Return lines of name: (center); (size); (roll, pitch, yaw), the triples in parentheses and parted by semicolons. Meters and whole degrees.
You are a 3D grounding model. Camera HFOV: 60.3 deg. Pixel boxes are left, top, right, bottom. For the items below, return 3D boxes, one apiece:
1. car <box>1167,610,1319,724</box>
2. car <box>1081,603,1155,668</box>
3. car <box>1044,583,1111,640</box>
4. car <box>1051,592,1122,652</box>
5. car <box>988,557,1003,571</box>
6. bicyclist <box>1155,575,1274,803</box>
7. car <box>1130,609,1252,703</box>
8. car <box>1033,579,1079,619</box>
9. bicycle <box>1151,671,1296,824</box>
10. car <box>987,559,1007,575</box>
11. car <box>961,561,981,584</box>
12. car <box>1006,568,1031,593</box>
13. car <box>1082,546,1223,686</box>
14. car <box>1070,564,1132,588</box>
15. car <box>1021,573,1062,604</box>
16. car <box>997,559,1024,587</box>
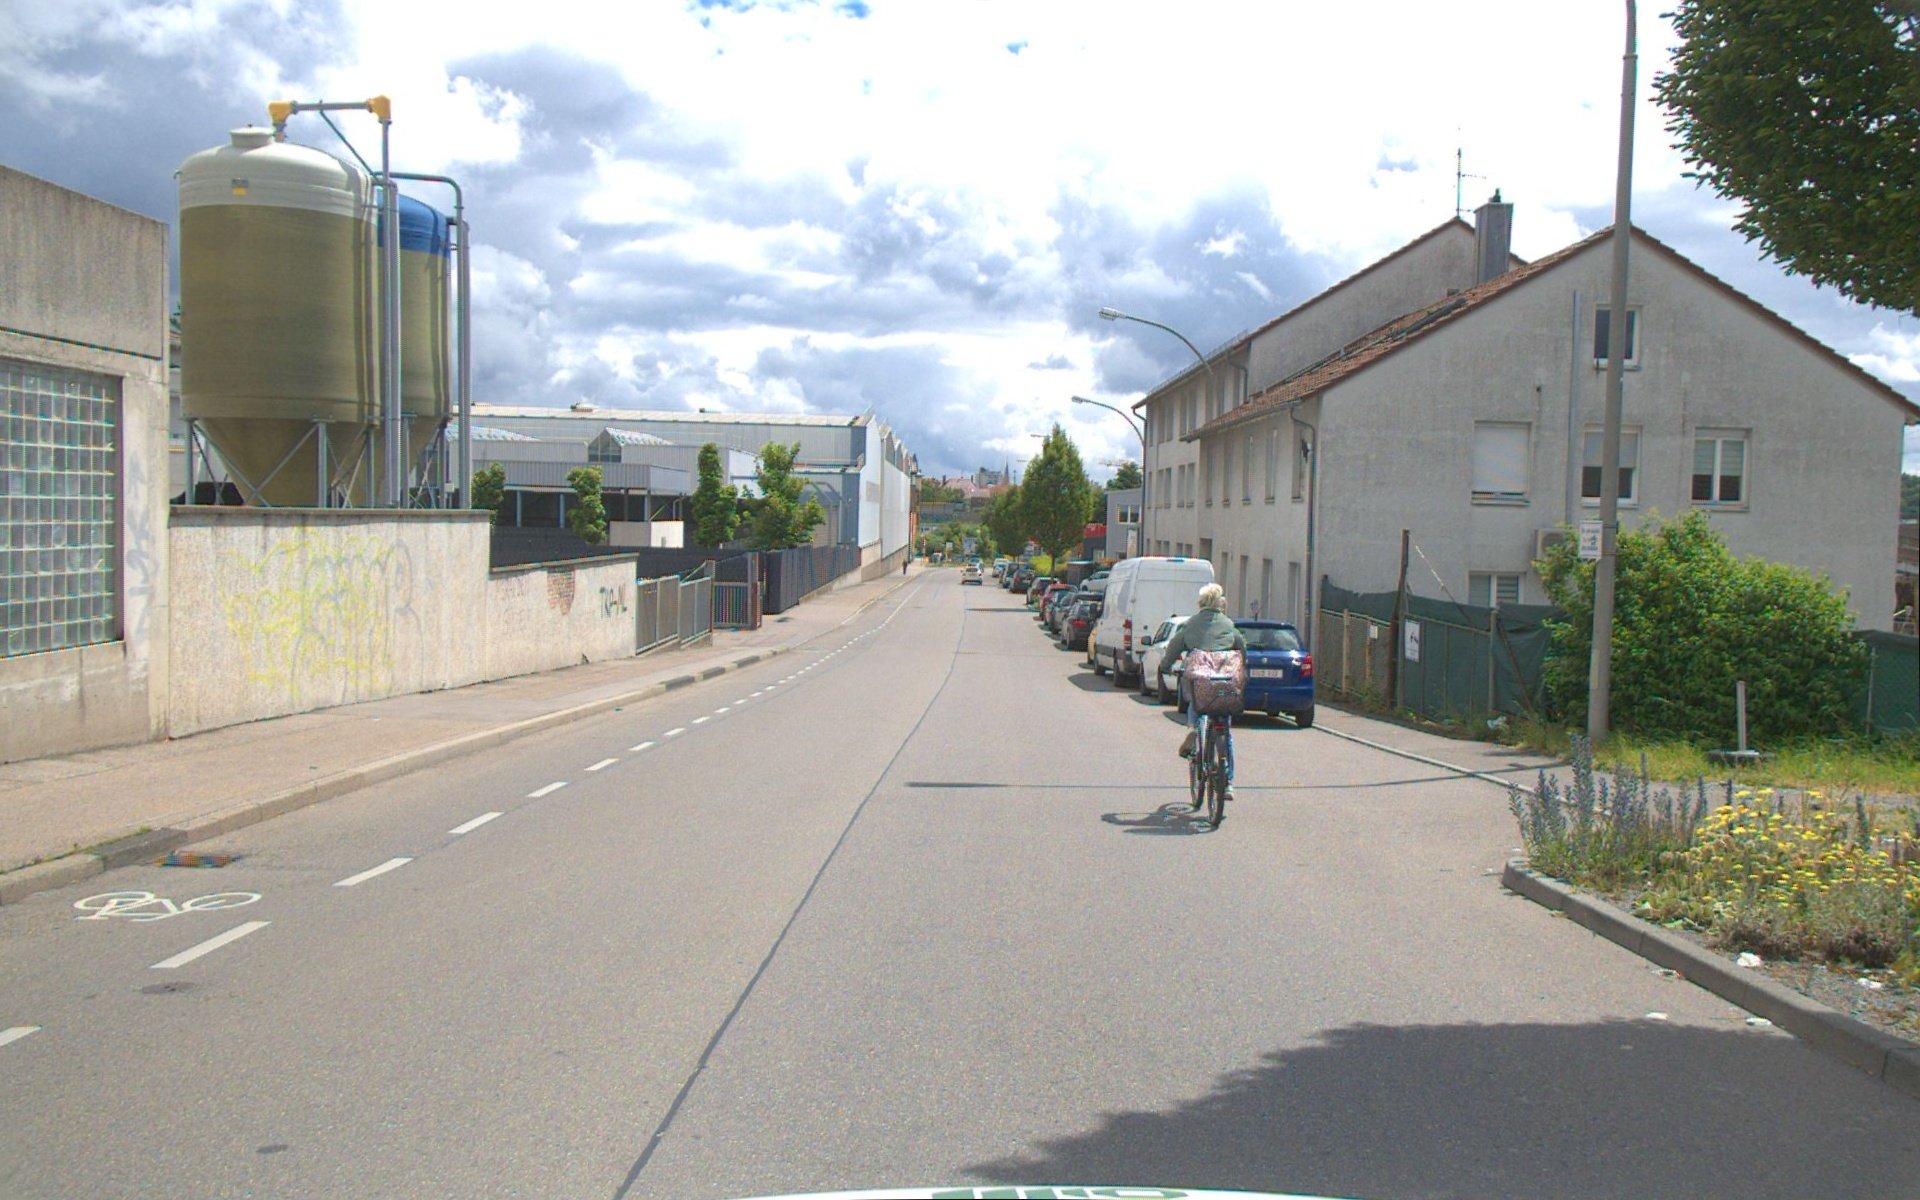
car: (4.194, 0.943, 25.053); (1.535, 1.536, 4.093); (1, 0, 0)
car: (4.000, 0.873, 42.342); (1.560, 1.473, 3.791); (2, 1, 1)
car: (4.059, 0.369, 58.041); (1.644, 1.666, 4.794); (3, 2, -4)
car: (3.958, 0.662, 52.460); (1.670, 1.536, 5.087); (3, 2, -1)
car: (3.929, -3.986, 182.481); (1.666, 1.554, 3.739); (2, 1, 1)
bicyclist: (1.918, 0.657, 12.542); (0.725, 1.655, 0.731); (1, -1, -3)
car: (4.114, 0.961, 29.978); (1.560, 1.536, 3.789); (1, 0, -1)
car: (4.068, -0.061, 70.332); (1.699, 1.498, 4.262); (2, 2, 0)
bicycle: (1.920, 1.057, 12.302); (0.725, 0.992, 1.731); (1, -1, -2)
car: (3.885, -3.426, 172.017); (1.668, 1.554, 3.736); (4, 1, -4)
car: (0.900, -2.279, 137.007); (1.535, 1.817, 3.605); (1, 0, 0)
car: (3.984, -1.346, 112.981); (1.644, 1.666, 4.124); (2, 1, 2)
car: (4.043, 0.325, 36.061); (1.992, 2.687, 7.281); (1, 0, -1)
car: (9.054, -1.555, 106.573); (1.708, 1.488, 4.019); (-3, 2, -38)
car: (4.245, -0.621, 86.489); (1.755, 1.491, 4.707); (1, 1, -1)
car: (3.892, -2.094, 127.810); (1.831, 2.025, 5.144); (1, 1, 0)
